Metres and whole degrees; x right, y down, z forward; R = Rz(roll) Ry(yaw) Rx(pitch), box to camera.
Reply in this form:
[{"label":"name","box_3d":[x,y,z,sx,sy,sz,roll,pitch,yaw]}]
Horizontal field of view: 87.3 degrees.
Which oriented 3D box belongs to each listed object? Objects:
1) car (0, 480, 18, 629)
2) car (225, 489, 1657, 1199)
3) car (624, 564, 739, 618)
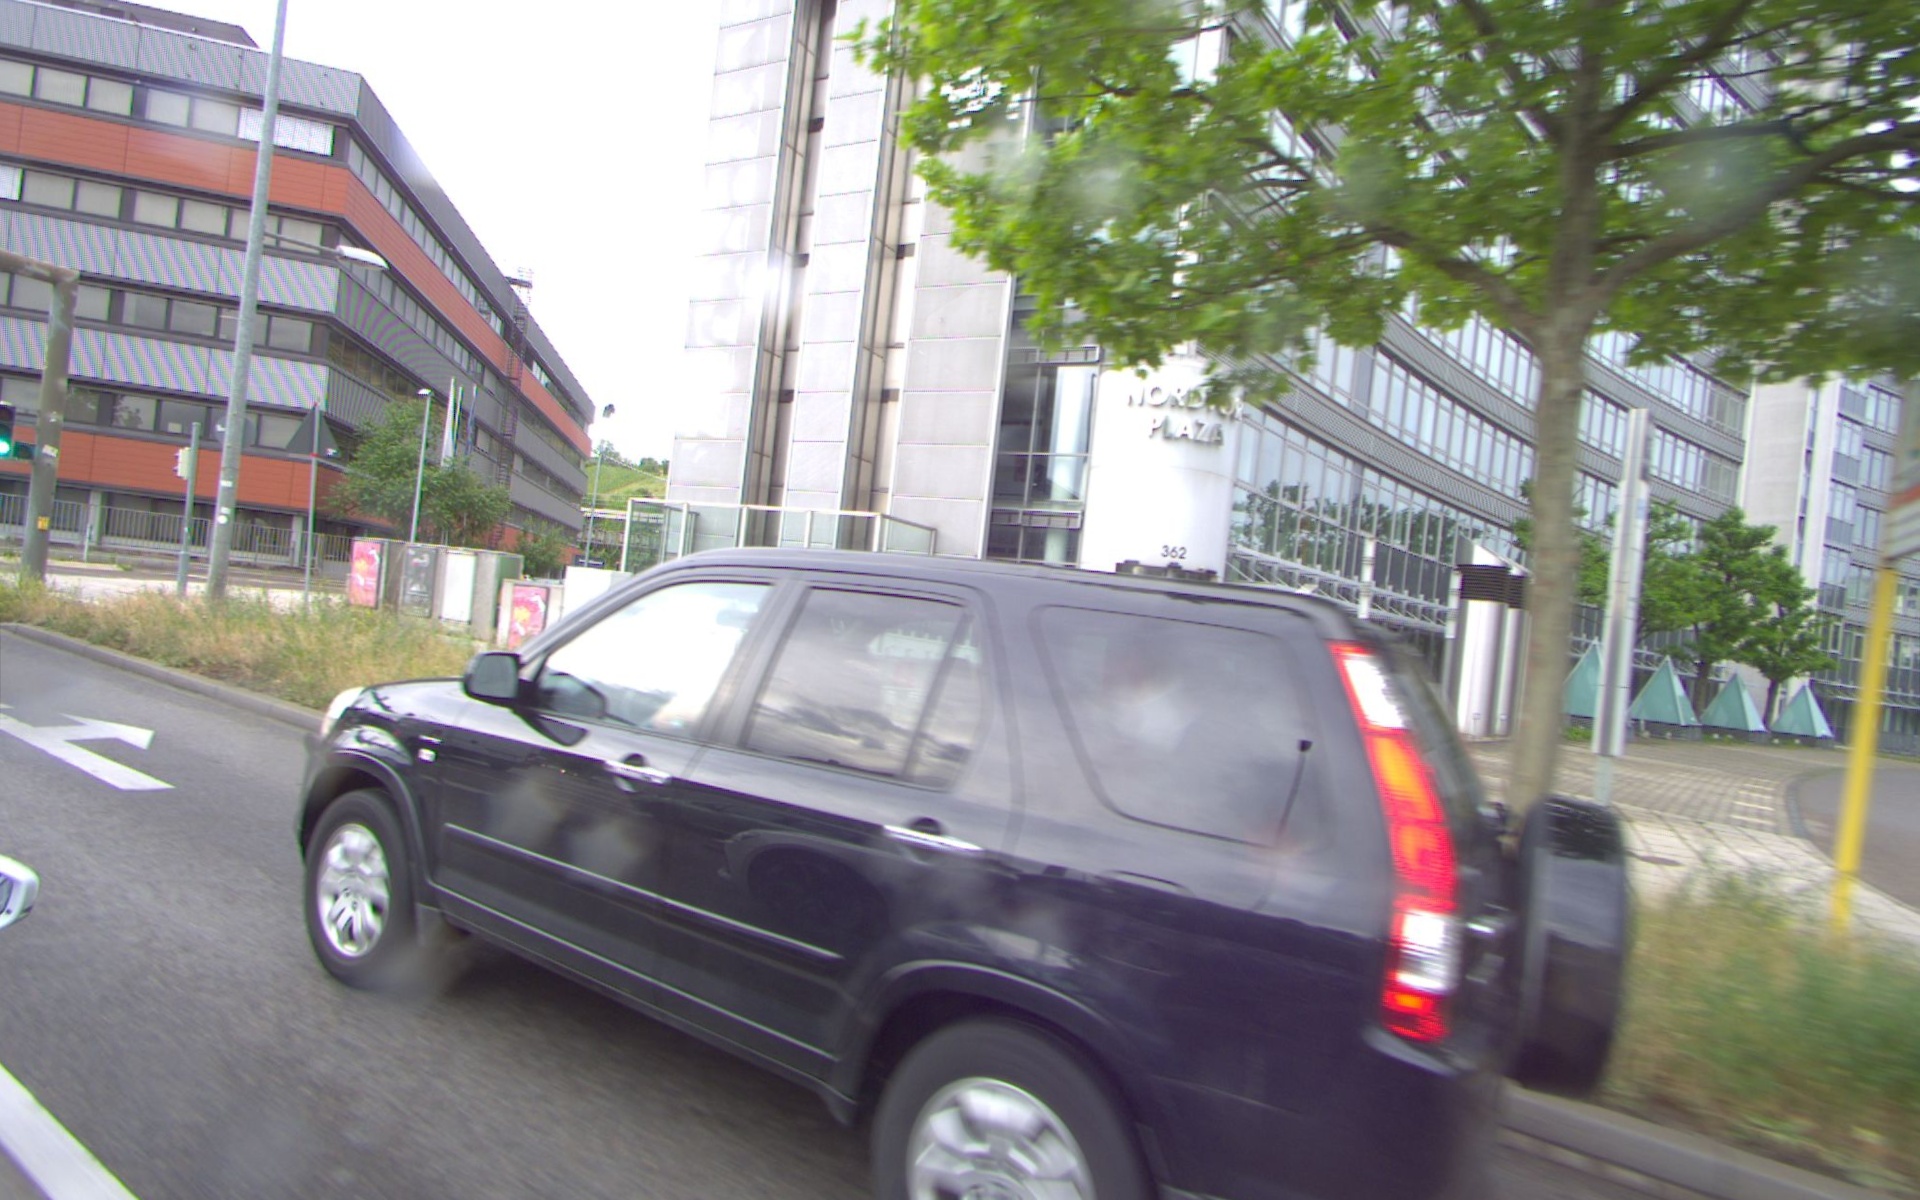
[{"label":"car","box_3d":[-11.083,-0.499,9.566,3.931,1.675,1.834,5,-2,28]},{"label":"car","box_3d":[-0.387,0.674,3.372,4.254,1.648,1.770,5,-4,32]},{"label":"car","box_3d":[-13.517,-0.403,49.103,1.973,1.937,5.062,4,-4,41]}]
